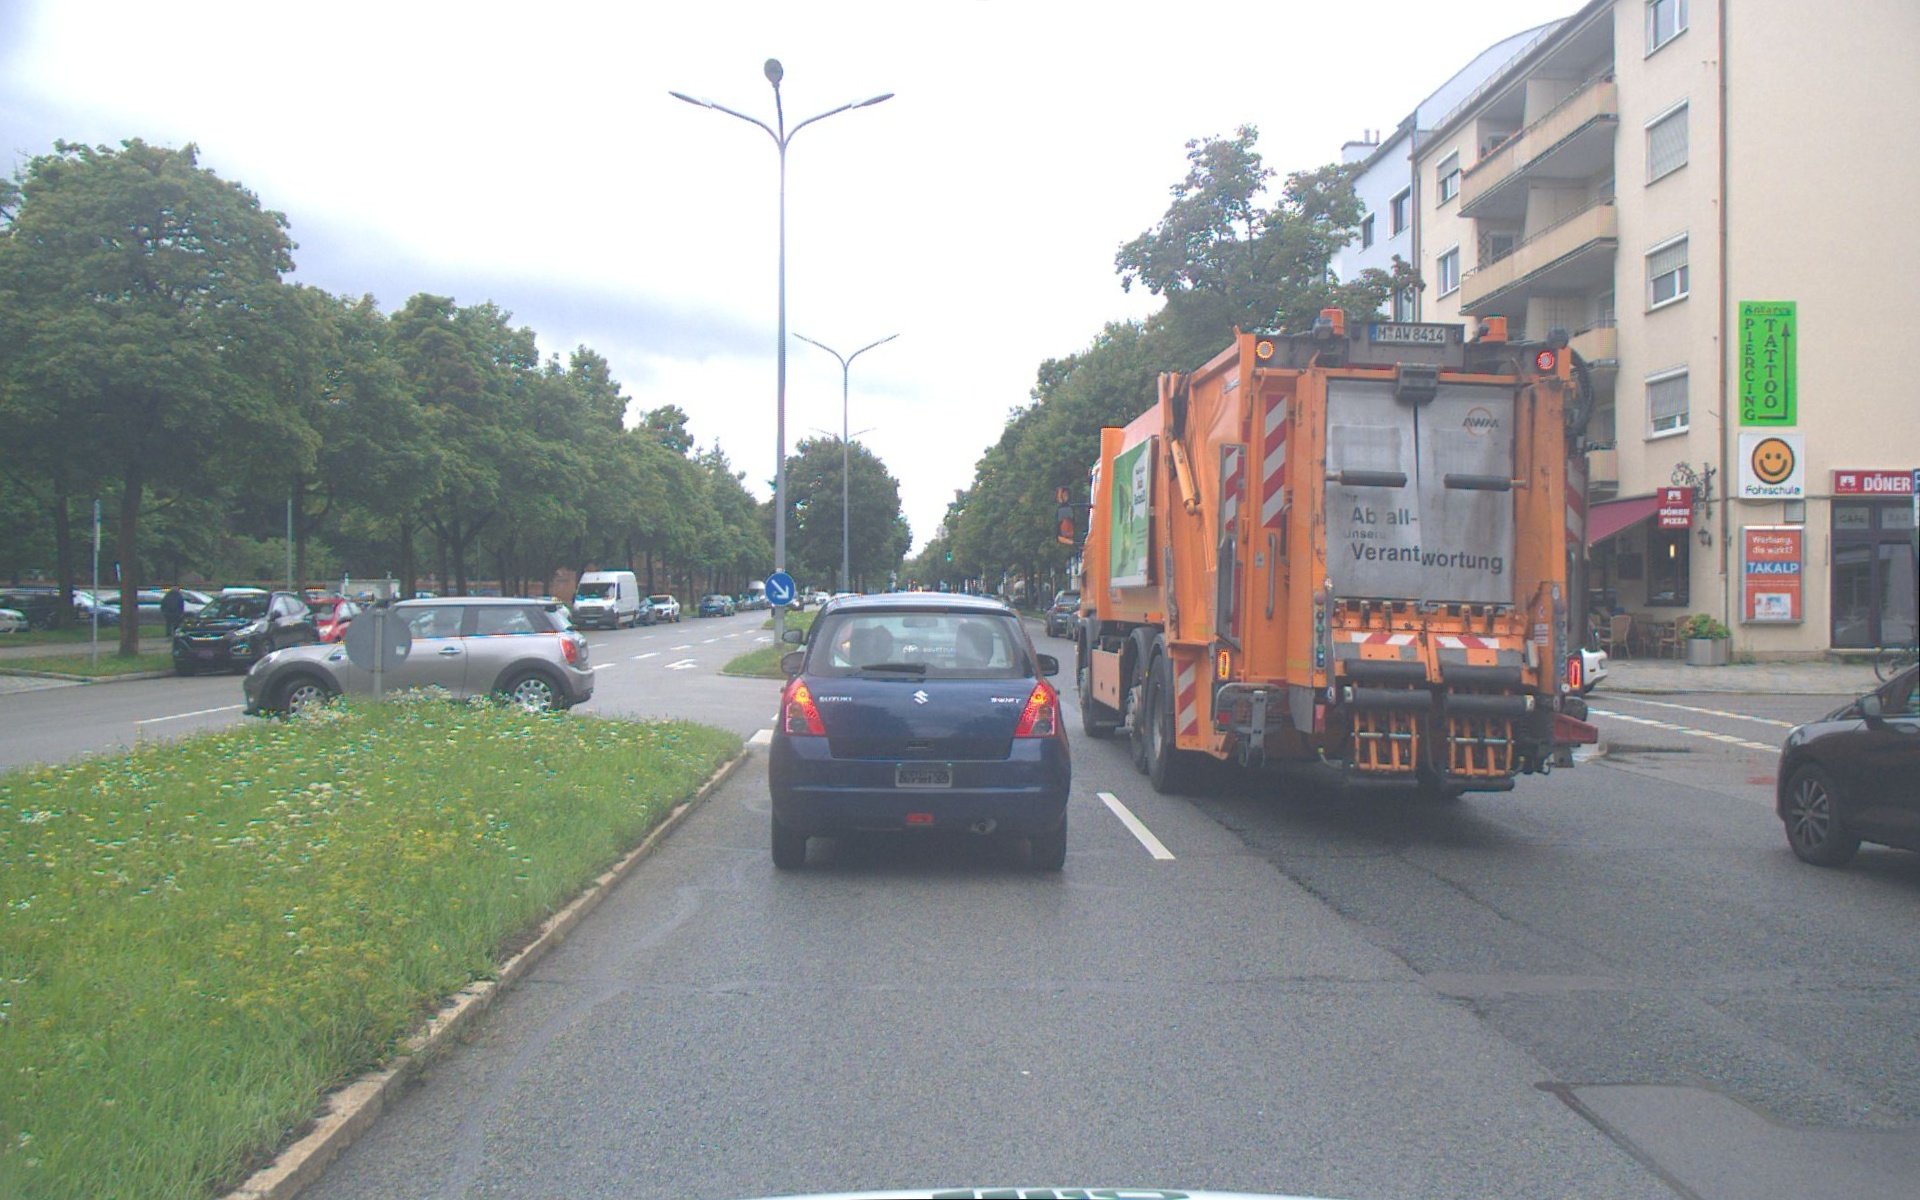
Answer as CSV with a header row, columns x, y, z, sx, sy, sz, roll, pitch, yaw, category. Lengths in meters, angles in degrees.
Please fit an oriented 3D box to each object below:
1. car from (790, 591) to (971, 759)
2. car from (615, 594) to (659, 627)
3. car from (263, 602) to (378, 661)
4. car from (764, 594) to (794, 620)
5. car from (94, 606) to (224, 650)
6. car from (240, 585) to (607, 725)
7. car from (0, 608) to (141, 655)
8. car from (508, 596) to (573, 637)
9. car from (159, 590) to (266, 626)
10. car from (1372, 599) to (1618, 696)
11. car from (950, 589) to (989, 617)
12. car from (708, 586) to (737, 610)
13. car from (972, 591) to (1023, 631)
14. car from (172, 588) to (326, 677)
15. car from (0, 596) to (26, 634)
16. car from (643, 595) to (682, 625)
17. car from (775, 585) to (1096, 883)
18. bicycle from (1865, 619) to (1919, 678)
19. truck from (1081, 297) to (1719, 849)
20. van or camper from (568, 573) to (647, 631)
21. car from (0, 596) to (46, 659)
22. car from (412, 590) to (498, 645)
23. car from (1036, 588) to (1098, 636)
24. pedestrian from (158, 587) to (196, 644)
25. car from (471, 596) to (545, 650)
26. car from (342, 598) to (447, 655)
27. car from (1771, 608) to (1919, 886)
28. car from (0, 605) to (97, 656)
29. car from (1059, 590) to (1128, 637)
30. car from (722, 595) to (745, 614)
x,y,z,sx,sy,sz,roll,pitch,yaw,category
-0.875,0.675,16.592,1.418,1.509,3.098,0,0,-11,car
-16.447,0.527,84.271,1.600,1.610,3.877,1,0,-2,car
-15.388,0.730,39.981,1.559,1.335,3.379,1,0,-2,car
-11.602,0.445,105.997,1.600,1.580,3.877,1,0,-2,car
-28.554,0.992,59.019,3.793,1.471,1.670,1,0,-7,car
-5.945,0.591,18.696,3.650,1.488,1.685,0,0,-6,car
-28.869,1.013,53.585,3.793,1.471,1.670,1,0,-7,car
-15.742,0.612,62.228,1.600,1.456,3.877,1,0,-2,car
-32.083,0.336,71.058,3.793,1.471,1.670,1,0,-7,car
8.556,0.714,26.449,3.480,1.442,1.869,0,0,28,car
0.497,0.154,89.277,1.697,1.457,4.438,1,0,-5,car
-16.510,-0.150,114.949,1.600,1.610,3.877,1,0,-2,car
1.404,0.417,63.792,1.723,1.438,4.461,1,0,-2,car
-14.986,0.653,35.079,1.682,1.771,3.877,1,0,-2,car
-39.835,0.565,65.602,4.596,1.471,1.672,1,0,-1,car
-16.506,0.525,91.919,1.600,1.610,3.877,1,0,-2,car
-0.208,0.678,10.502,1.648,1.528,3.917,0,0,-3,car
16.292,0.824,27.871,1.810,0.974,0.557,1,0,-3,bicycle
2.961,-0.176,14.405,2.977,3.245,9.131,1,0,-1,truck
-16.194,0.098,76.400,2.074,2.525,7.447,1,0,-1,van or camper
-28.185,0.741,46.599,3.844,1.748,1.670,1,0,-7,car
-15.375,0.524,50.525,1.559,1.585,3.877,1,0,-2,car
3.963,0.403,61.965,1.828,1.712,4.222,0,0,-3,car
-21.966,0.437,46.416,0.713,1.561,0.720,1,0,-1,pedestrian
-15.507,0.758,56.898,1.600,1.771,3.877,1,0,-2,car
-15.311,0.684,44.958,1.634,1.471,3.877,1,0,-2,car
5.985,0.822,8.644,1.584,1.491,3.673,2,0,-2,car
-28.204,0.900,49.509,3.793,1.471,1.670,1,0,-7,car
4.559,0.437,57.161,1.828,1.544,4.222,0,0,-3,car
-19.811,0.390,144.956,1.600,1.610,3.877,1,0,-2,car
